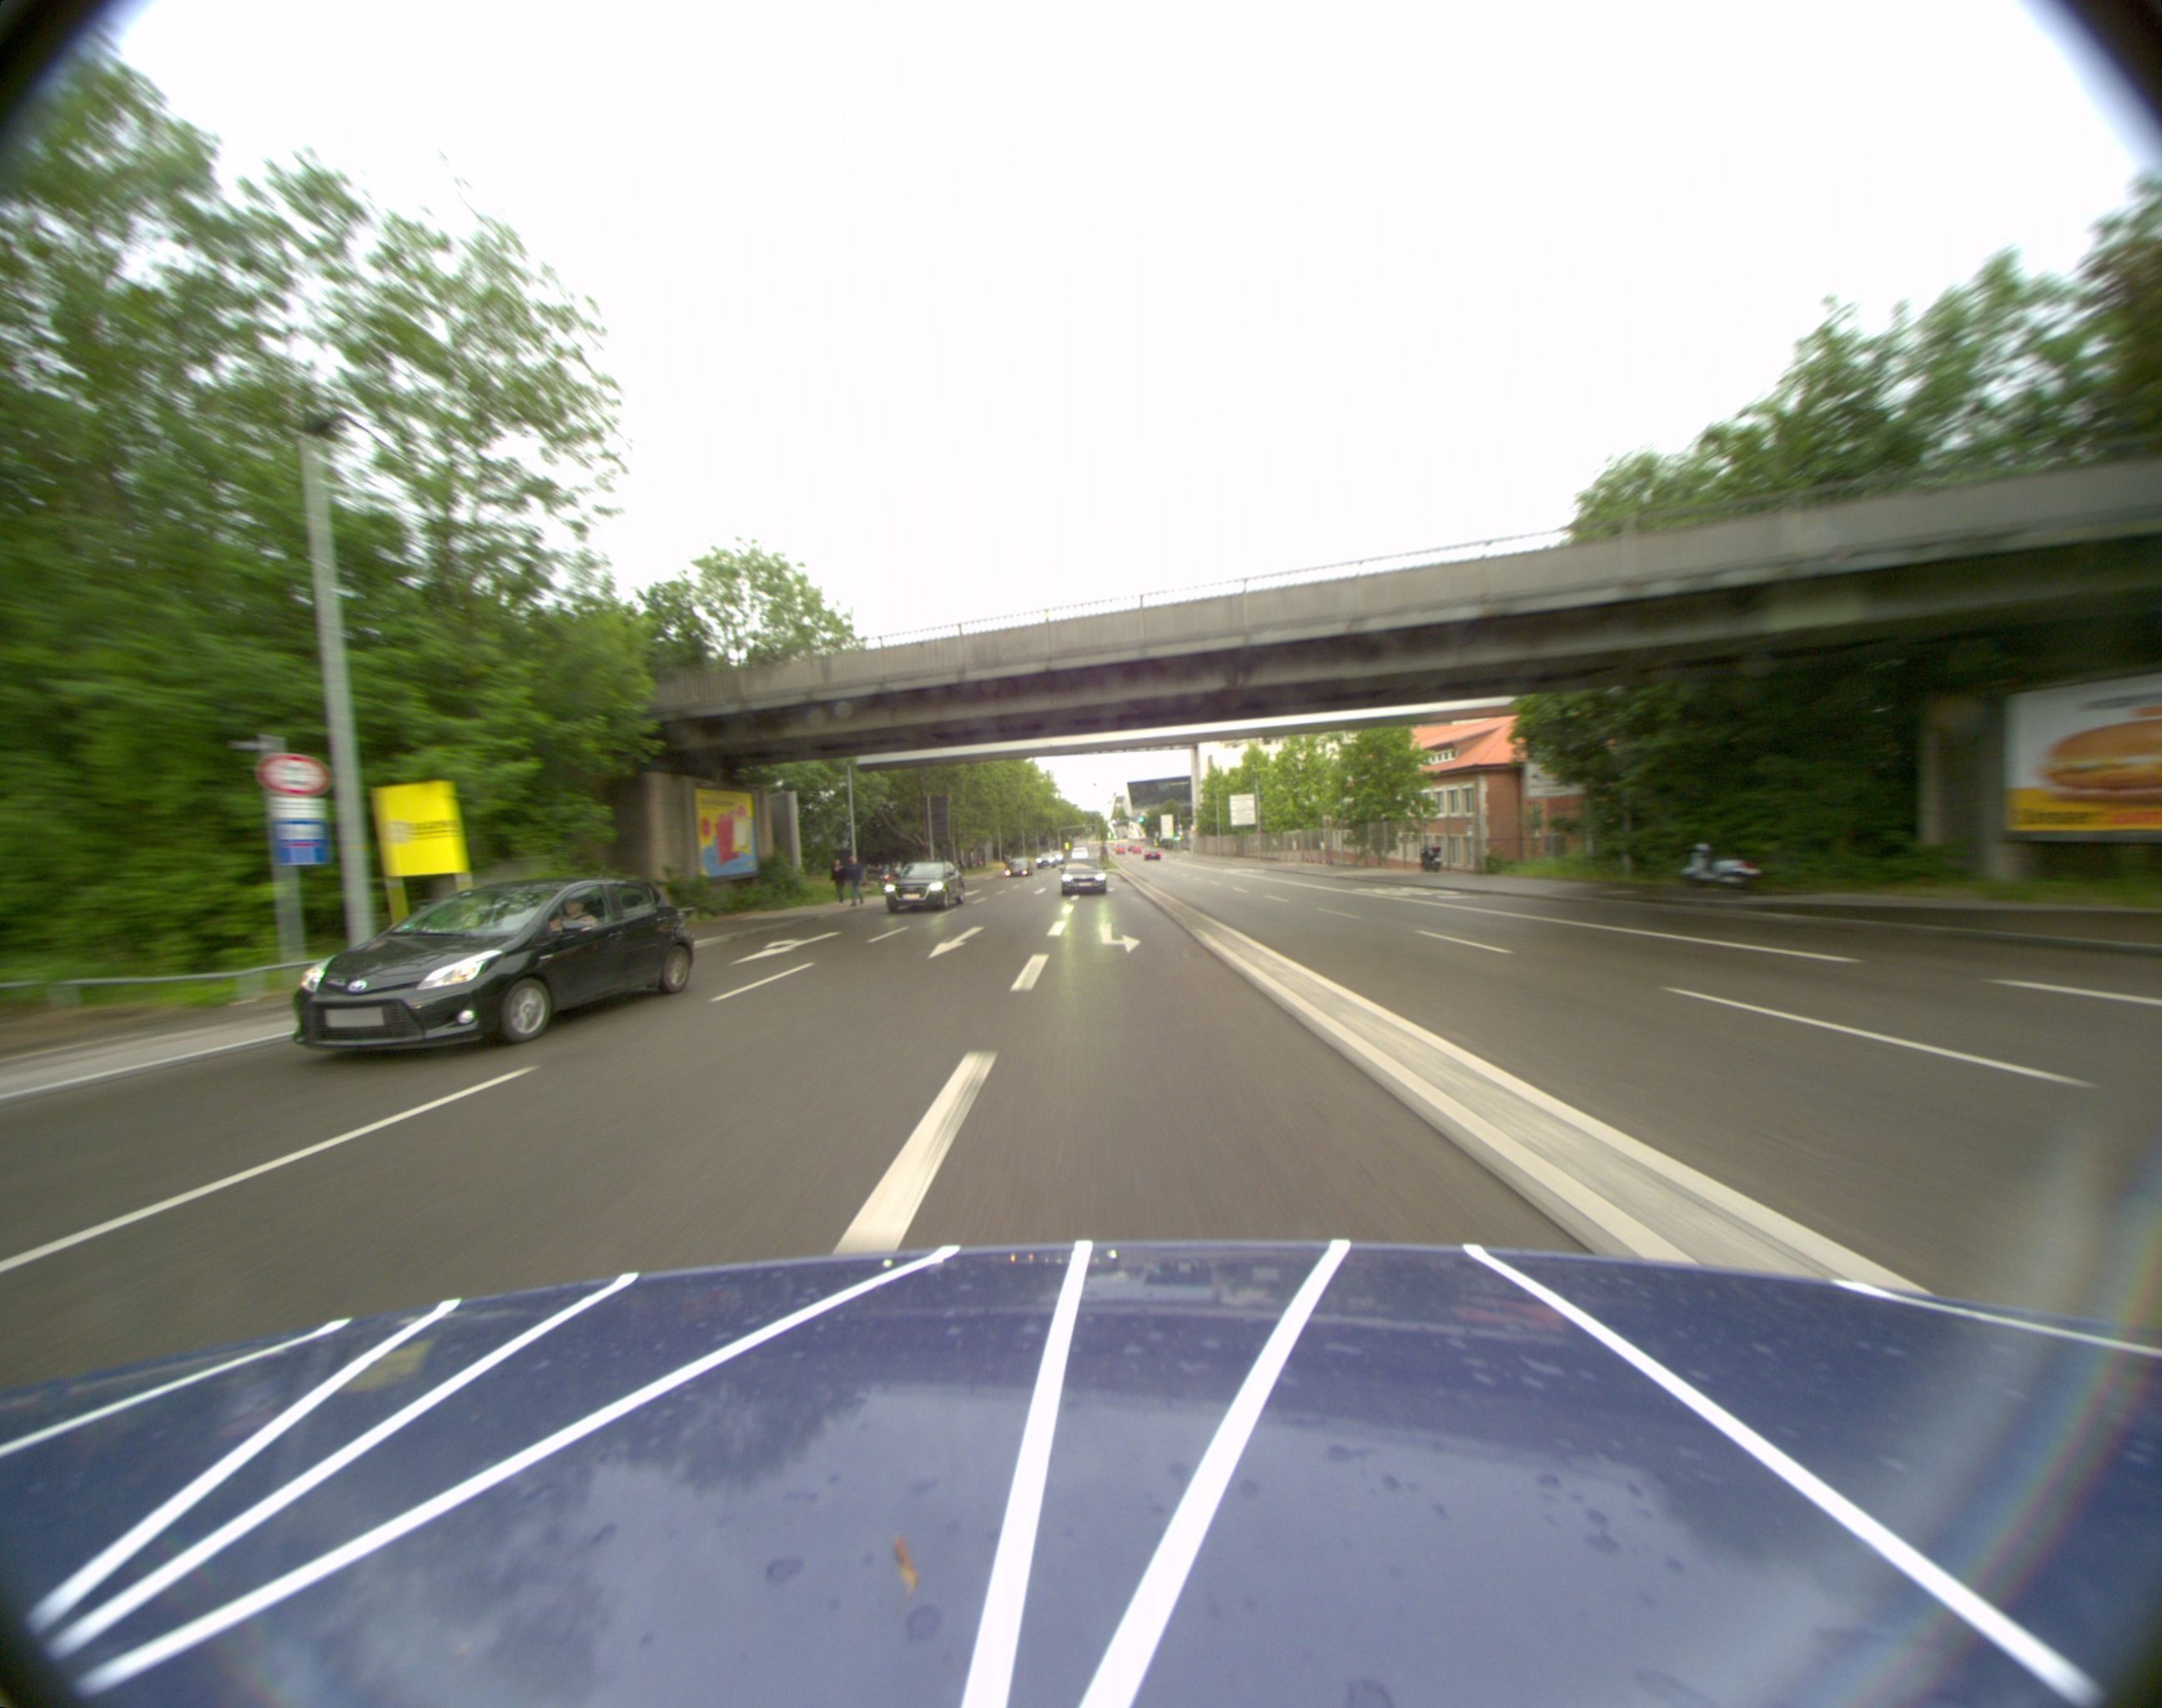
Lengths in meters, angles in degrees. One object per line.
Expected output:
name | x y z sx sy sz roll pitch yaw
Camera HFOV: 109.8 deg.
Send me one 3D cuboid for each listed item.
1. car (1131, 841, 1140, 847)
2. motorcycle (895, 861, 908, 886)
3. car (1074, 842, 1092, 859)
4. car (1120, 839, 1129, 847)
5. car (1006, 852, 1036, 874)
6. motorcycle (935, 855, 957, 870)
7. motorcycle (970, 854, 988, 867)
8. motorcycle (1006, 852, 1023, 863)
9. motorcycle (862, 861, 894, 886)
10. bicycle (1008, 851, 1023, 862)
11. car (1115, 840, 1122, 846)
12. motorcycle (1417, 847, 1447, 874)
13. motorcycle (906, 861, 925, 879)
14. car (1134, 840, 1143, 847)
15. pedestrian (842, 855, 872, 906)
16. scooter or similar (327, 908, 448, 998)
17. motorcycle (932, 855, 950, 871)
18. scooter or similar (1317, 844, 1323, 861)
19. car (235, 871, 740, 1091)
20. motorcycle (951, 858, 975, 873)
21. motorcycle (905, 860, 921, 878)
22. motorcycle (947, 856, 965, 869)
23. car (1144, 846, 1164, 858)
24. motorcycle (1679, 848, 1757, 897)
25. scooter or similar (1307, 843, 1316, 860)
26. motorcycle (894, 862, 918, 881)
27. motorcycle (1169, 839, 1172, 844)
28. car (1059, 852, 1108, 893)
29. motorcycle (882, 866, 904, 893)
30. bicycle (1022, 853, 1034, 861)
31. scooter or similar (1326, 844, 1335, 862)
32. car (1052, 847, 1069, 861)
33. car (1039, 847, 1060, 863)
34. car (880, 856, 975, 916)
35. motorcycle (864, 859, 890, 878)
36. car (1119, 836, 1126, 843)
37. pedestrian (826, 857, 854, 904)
car | 12.386 -2.273 173.156 1.777 1.396 4.614 -2 1 2
motorcycle | -9.264 1.000 39.157 0.471 1.206 1.941 -2 1 -17
car | 0.242 -0.441 94.063 2.035 1.920 4.331 -3 2 2
car | 8.523 -2.129 148.956 1.589 1.596 3.855 -1 1 2
car | -4.489 0.666 57.538 1.749 1.422 4.516 -4 1 2
motorcycle | -13.365 0.827 75.142 1.933 1.357 0.506 -4 2 -3
motorcycle | -9.945 0.650 74.140 1.656 1.144 0.493 -4 2 10
motorcycle | -8.243 0.461 93.738 2.011 1.266 0.442 -1 1 14
motorcycle | -10.899 1.040 40.787 1.939 1.290 0.548 -1 1 37
bicycle | -8.386 0.350 97.542 1.864 1.340 0.447 -2 2 -10
car | 10.198 -3.087 206.975 1.775 1.581 4.485 -2 2 4
motorcycle | 16.501 0.296 35.771 0.470 1.198 1.996 -2 0 2
motorcycle | -11.706 1.140 53.614 0.631 1.245 1.850 -3 1 -33
car | 11.415 -2.060 151.045 1.719 1.429 3.771 -1 1 1
pedestrian | -7.790 0.912 26.445 0.612 1.711 0.892 -2 1 12
scooter or similar | -10.016 1.398 11.019 0.256 1.123 1.281 -3 1 19
motorcycle | -13.446 0.883 73.036 1.503 1.357 0.506 -4 2 -3
scooter or similar | 17.041 -0.118 54.195 0.312 1.211 1.309 -2 1 14
car | -5.819 1.078 8.430 1.749 1.462 4.640 -4 1 2
motorcycle | -9.963 0.947 64.154 1.855 1.184 0.521 -2 1 -13
motorcycle | -13.159 1.145 59.530 0.647 1.272 1.991 -2 1 1
motorcycle | -13.021 0.887 79.352 1.641 1.139 0.560 -4 2 13
car | 9.252 -0.286 97.053 2.069 1.354 4.756 -2 1 0
motorcycle | 15.903 0.433 19.026 0.469 1.152 1.933 -2 0 5
scooter or similar | 17.162 -0.184 56.655 0.312 1.211 1.308 -2 1 2
motorcycle | -13.049 1.292 56.567 0.520 1.272 1.858 -2 1 33
motorcycle | 19.500 -2.746 165.487 0.569 1.156 2.038 -2 2 1
car | 0.159 0.726 31.067 1.819 1.536 4.064 -1 0 2
motorcycle | -8.550 1.152 34.572 0.470 1.130 1.819 -2 1 1
bicycle | -7.395 0.382 105.472 1.555 0.999 0.393 -2 2 2
scooter or similar | 16.991 -0.095 51.754 0.312 1.211 1.308 -2 1 7
car | -2.540 -0.066 94.963 1.819 1.571 4.331 -3 2 2
car | -3.336 0.095 81.239 1.825 1.581 4.331 -3 2 2
car | -4.941 0.959 25.341 1.819 1.536 5.607 -3 2 2
motorcycle | -14.334 1.011 53.474 0.348 1.272 2.074 -2 1 30
car | 9.448 -3.299 174.066 1.581 1.396 4.111 -2 1 2
pedestrian | -8.488 0.933 26.781 0.651 1.587 0.579 -2 1 13
